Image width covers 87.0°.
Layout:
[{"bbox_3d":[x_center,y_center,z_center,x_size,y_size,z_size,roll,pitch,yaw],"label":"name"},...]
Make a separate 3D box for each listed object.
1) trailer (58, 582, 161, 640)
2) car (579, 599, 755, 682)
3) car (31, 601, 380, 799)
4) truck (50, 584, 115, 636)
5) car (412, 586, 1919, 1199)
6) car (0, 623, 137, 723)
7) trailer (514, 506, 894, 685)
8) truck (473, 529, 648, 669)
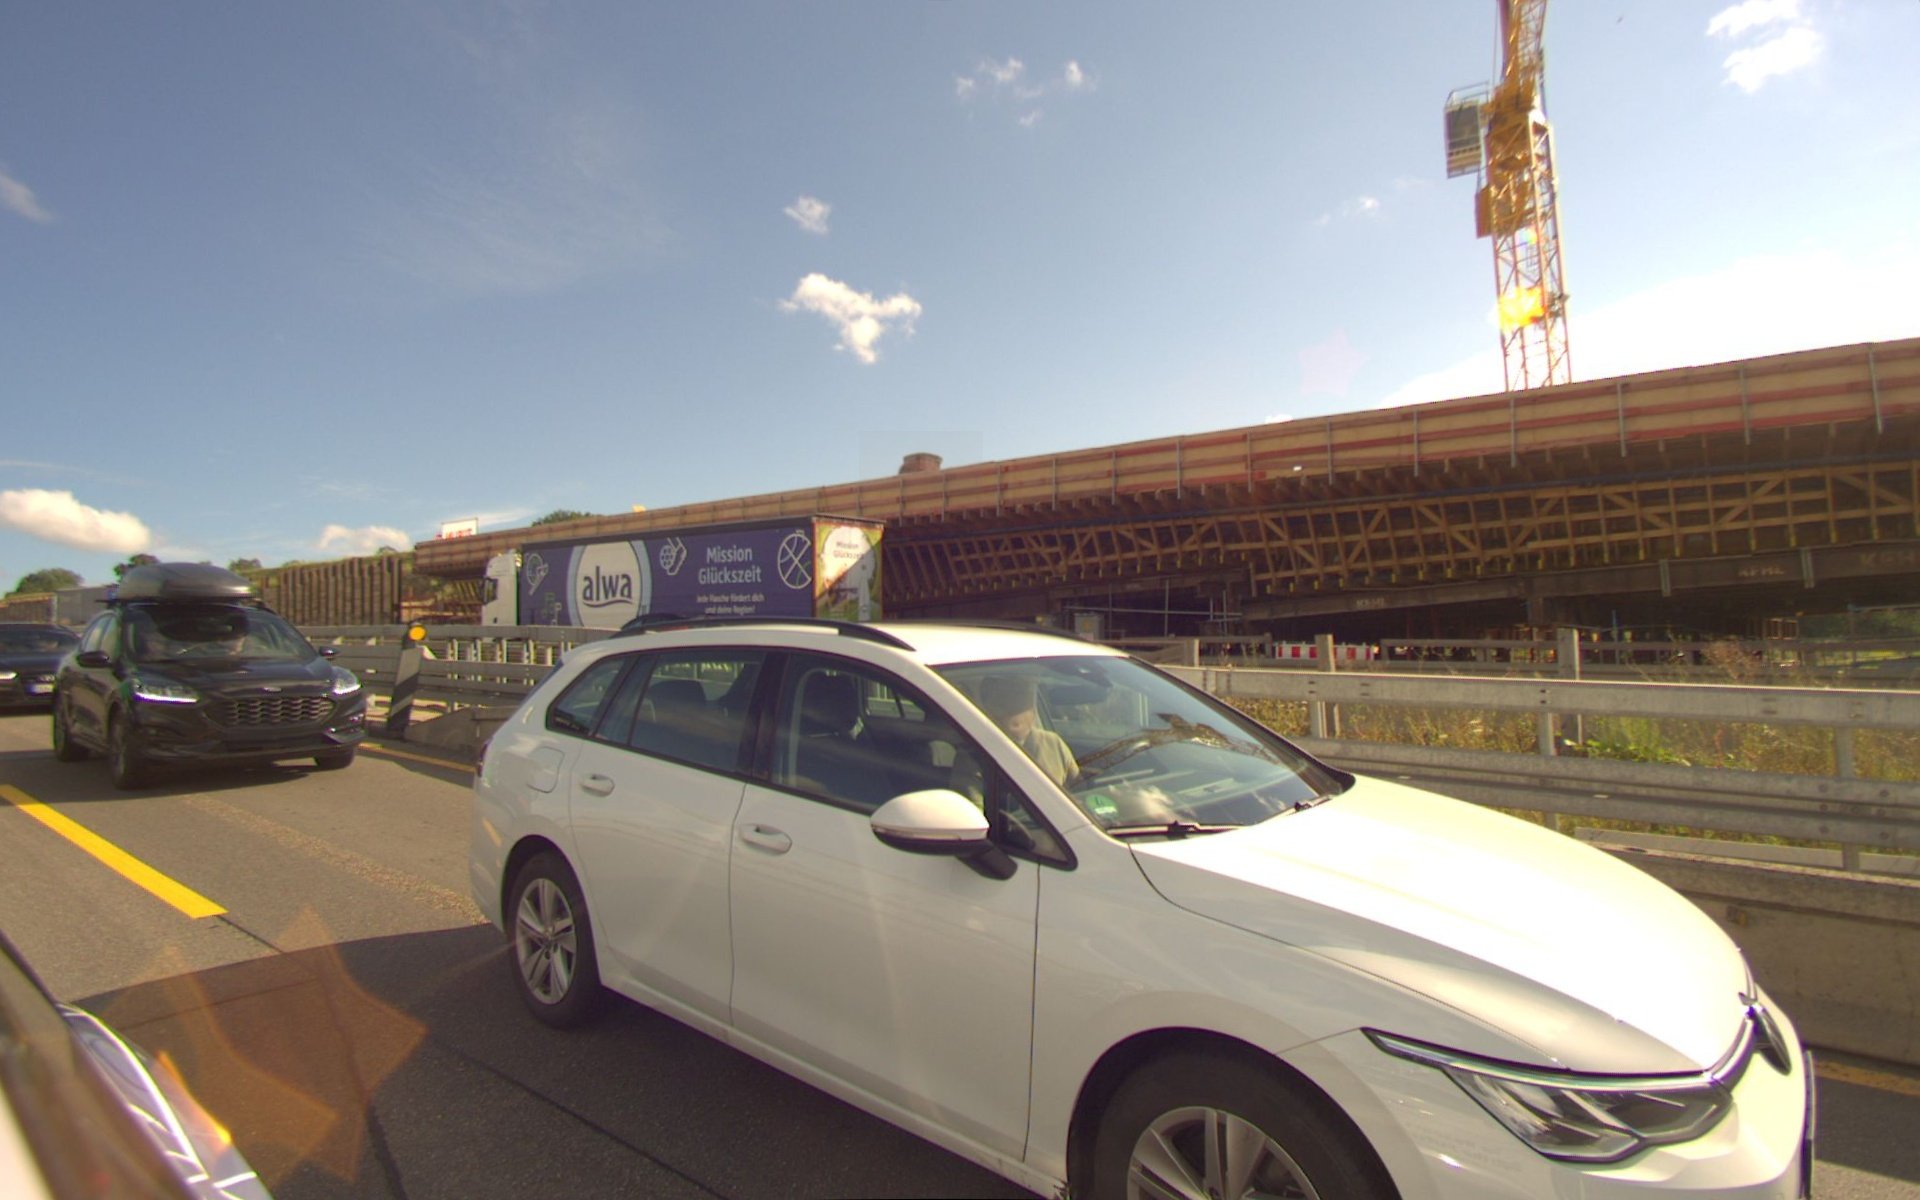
[{"bbox_3d":[-58.767,0.755,69.711,13.512,3.694,2.835,0,-1,39],"label":"trailer"},{"bbox_3d":[-6.933,0.888,23.750,4.323,1.780,1.904,-1,-1,40],"label":"car"},{"bbox_3d":[-7.601,0.846,10.036,4.380,1.554,1.781,-2,-2,40],"label":"car"},{"bbox_3d":[-64.165,0.747,73.983,4.805,3.656,2.814,-1,-1,39],"label":"truck"},{"bbox_3d":[0.103,0.782,3.294,4.513,1.502,1.752,-1,-3,40],"label":"car"},{"bbox_3d":[-15.793,1.144,17.152,4.499,1.441,1.925,0,-2,39],"label":"car"},{"bbox_3d":[-7.935,-0.057,29.032,13.791,4.187,2.662,0,-1,38],"label":"trailer"},{"bbox_3d":[-13.121,-0.002,33.089,5.962,4.169,2.686,0,-1,38],"label":"truck"}]
